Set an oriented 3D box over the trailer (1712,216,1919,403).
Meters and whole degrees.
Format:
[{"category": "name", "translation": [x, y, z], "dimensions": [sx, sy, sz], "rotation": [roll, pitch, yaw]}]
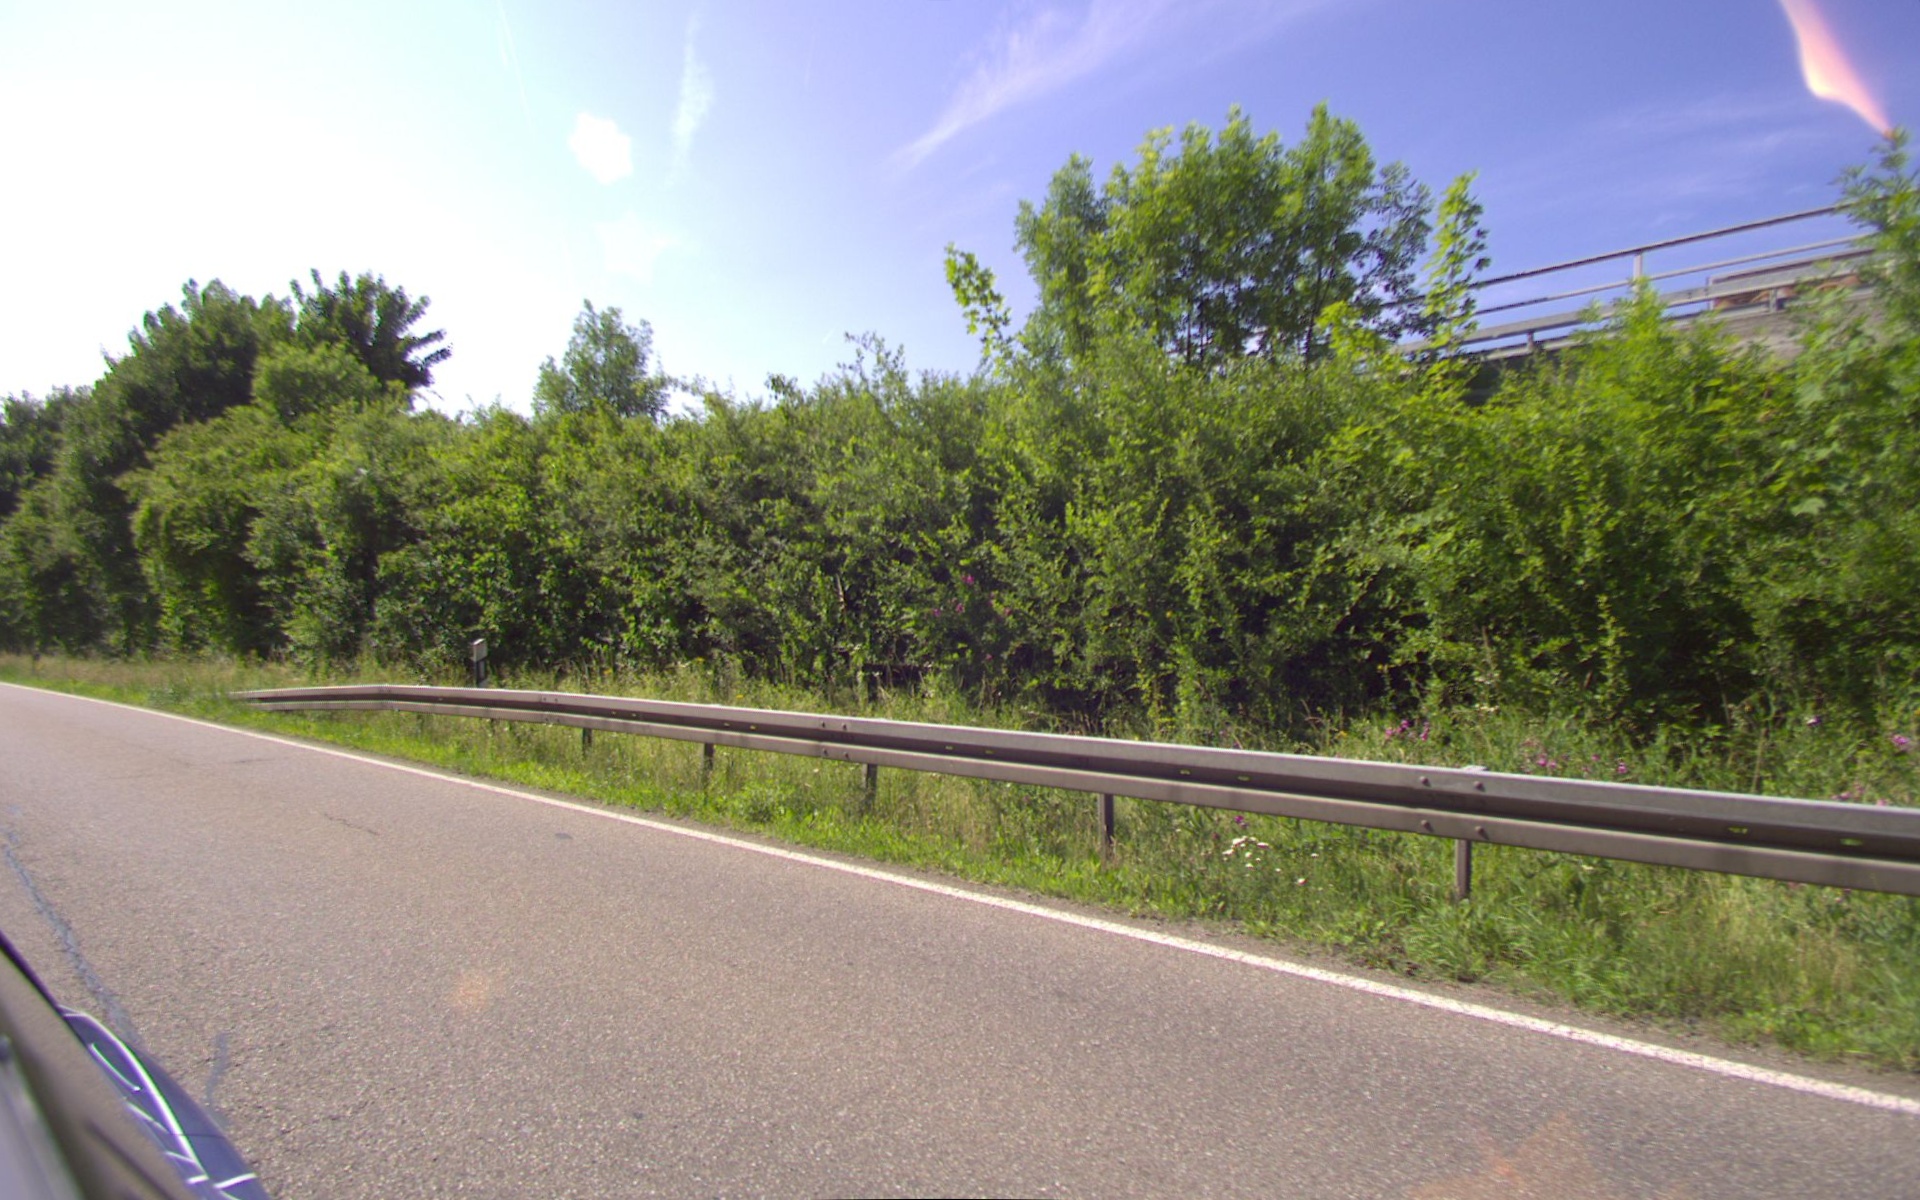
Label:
[{"category": "trailer", "translation": [22.195, -6.284, 18.856], "dimensions": [12.937, 2.900, 2.370], "rotation": [-2, 0, 42]}]
